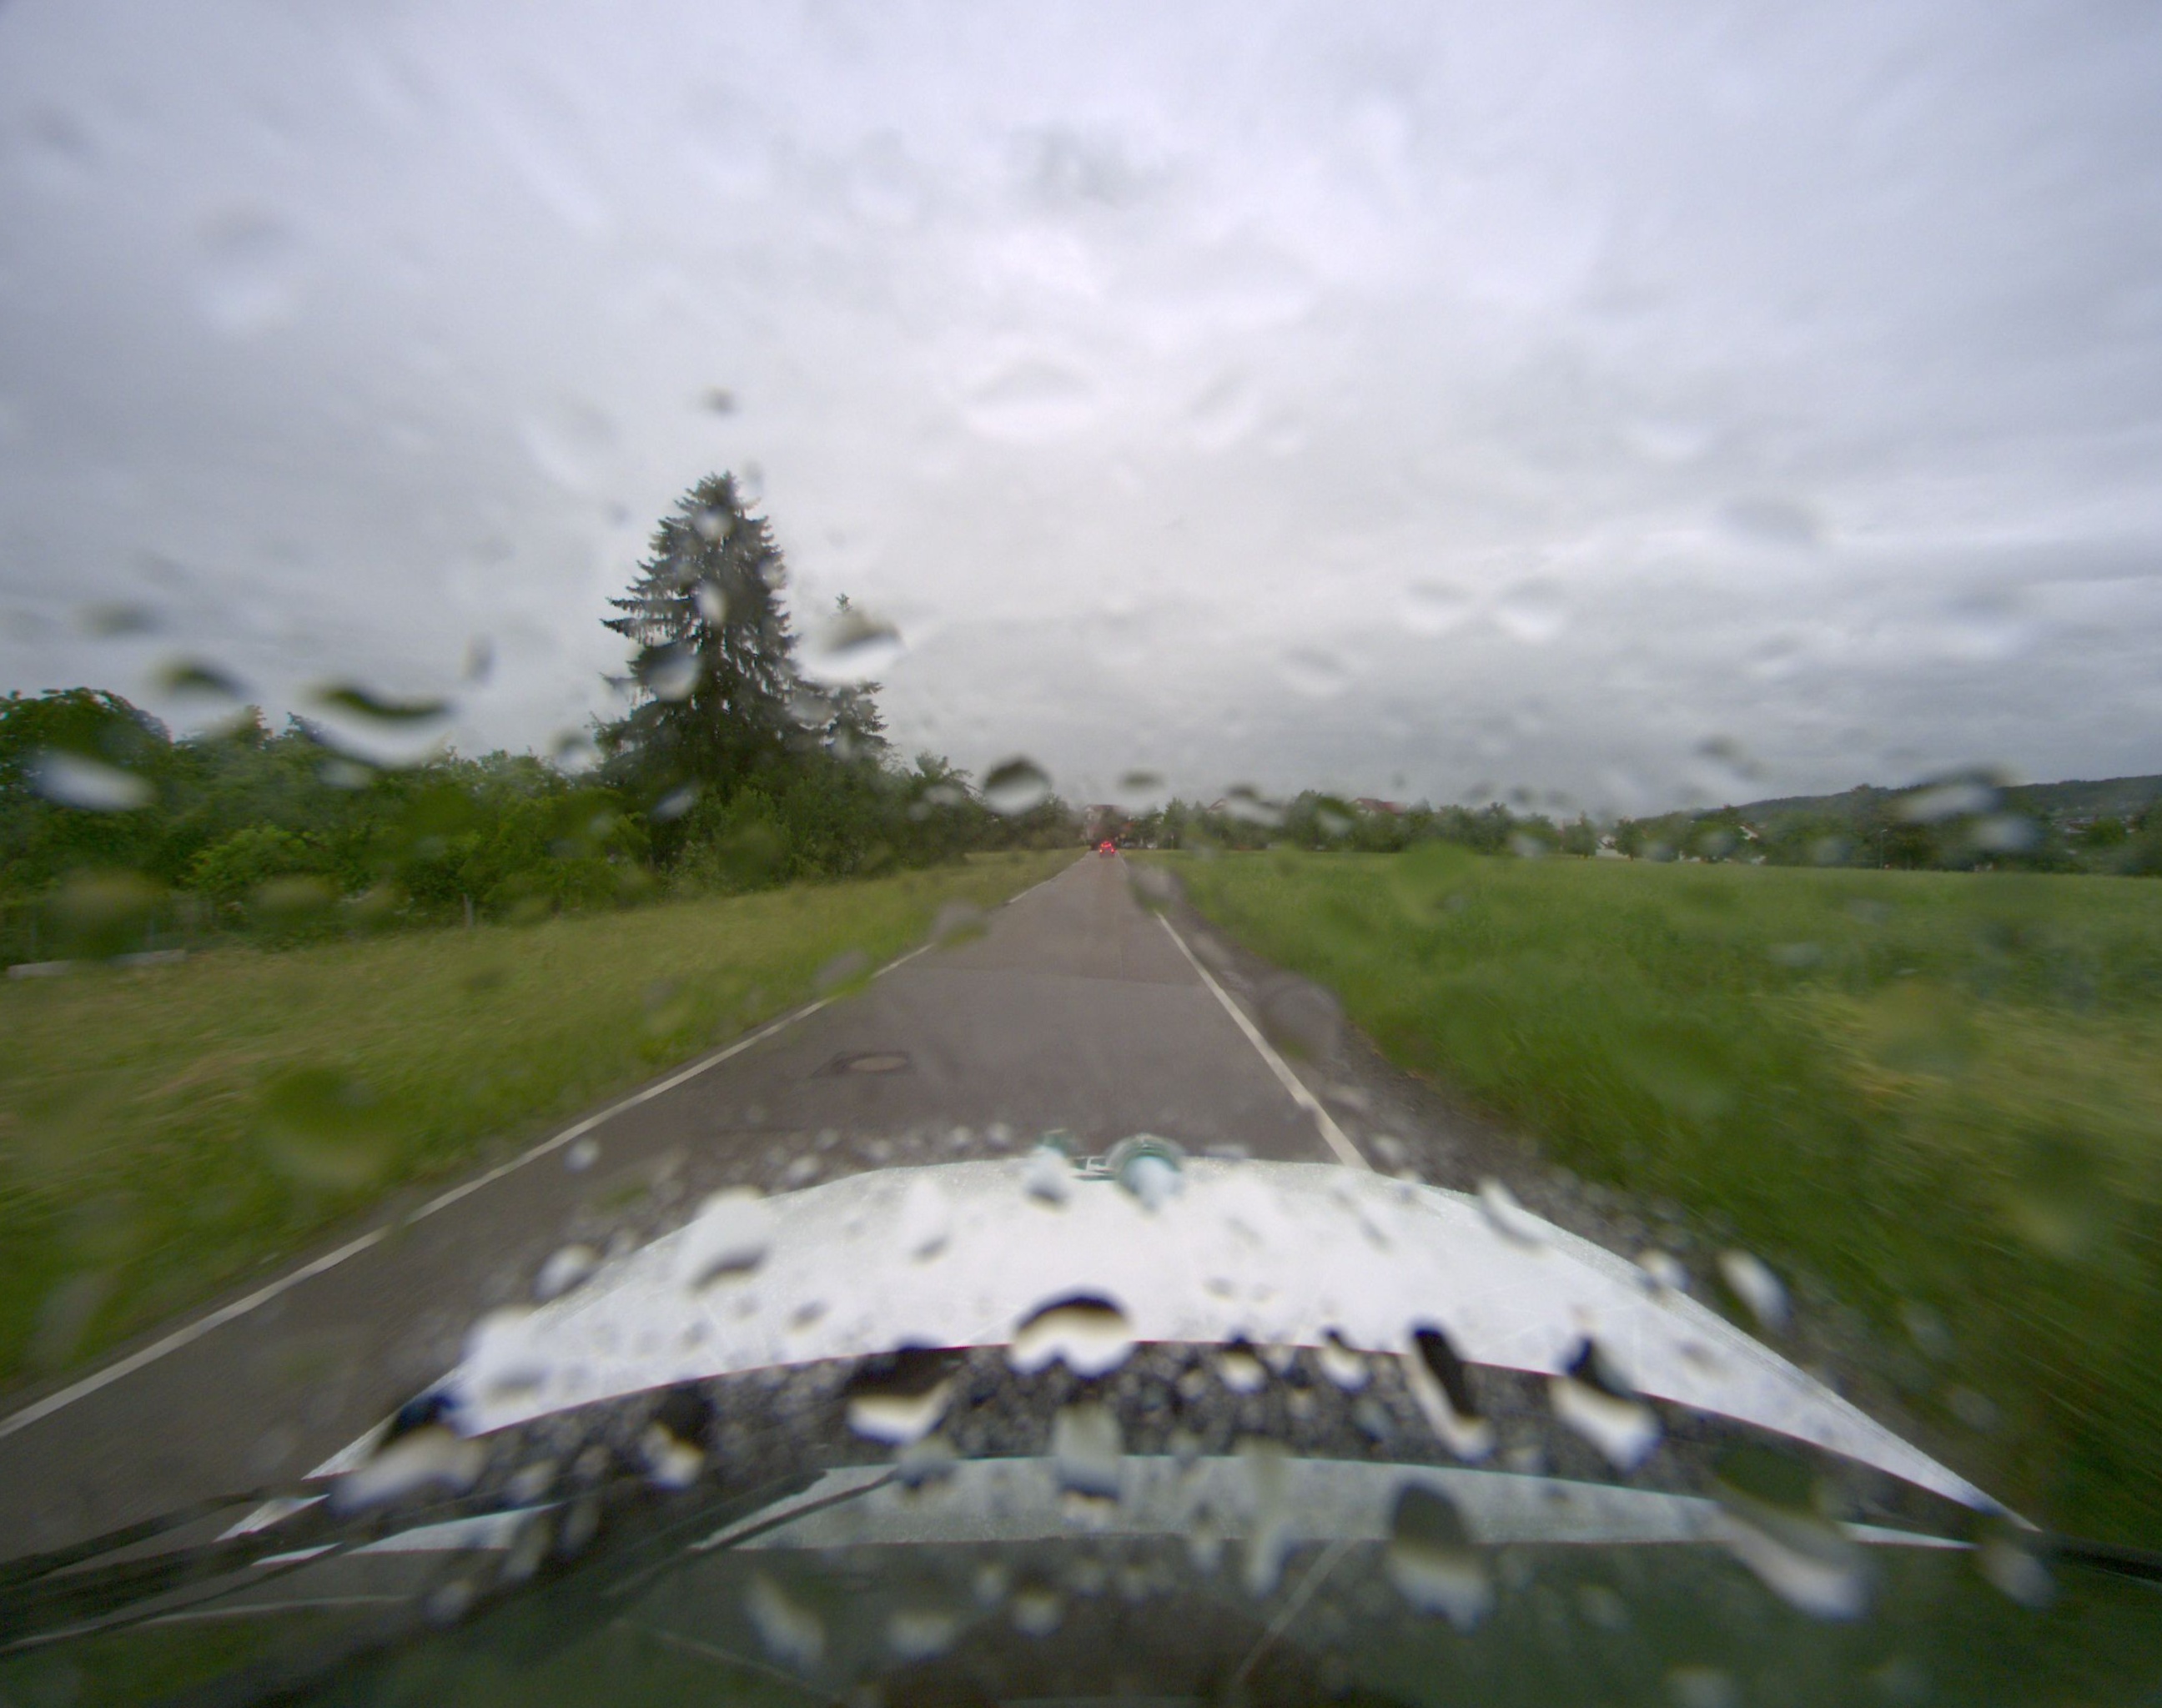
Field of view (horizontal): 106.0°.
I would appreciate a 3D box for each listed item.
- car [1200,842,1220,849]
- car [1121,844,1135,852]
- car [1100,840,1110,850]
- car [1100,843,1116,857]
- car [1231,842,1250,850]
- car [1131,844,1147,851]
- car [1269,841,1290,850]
[{"bbox_3d":[23.366,-1.522,147.839,3.365,1.370,1.554,0,-1,15],"label":"car"},{"bbox_3d":[10.242,-1.329,177.296,1.645,1.546,4.023,0,-1,26],"label":"car"},{"bbox_3d":[4.295,-1.591,144.532,1.807,1.594,4.003,0,-1,3],"label":"car"},{"bbox_3d":[3.243,-0.458,97.131,1.807,1.594,4.003,0,-1,3],"label":"car"},{"bbox_3d":[28.678,-1.457,146.368,3.169,1.370,1.578,0,-1,15],"label":"car"},{"bbox_3d":[12.867,-1.370,181.701,1.645,1.546,4.025,-1,-1,37],"label":"car"},{"bbox_3d":[35.242,-1.529,144.457,3.682,1.564,1.617,0,-1,15],"label":"car"}]
